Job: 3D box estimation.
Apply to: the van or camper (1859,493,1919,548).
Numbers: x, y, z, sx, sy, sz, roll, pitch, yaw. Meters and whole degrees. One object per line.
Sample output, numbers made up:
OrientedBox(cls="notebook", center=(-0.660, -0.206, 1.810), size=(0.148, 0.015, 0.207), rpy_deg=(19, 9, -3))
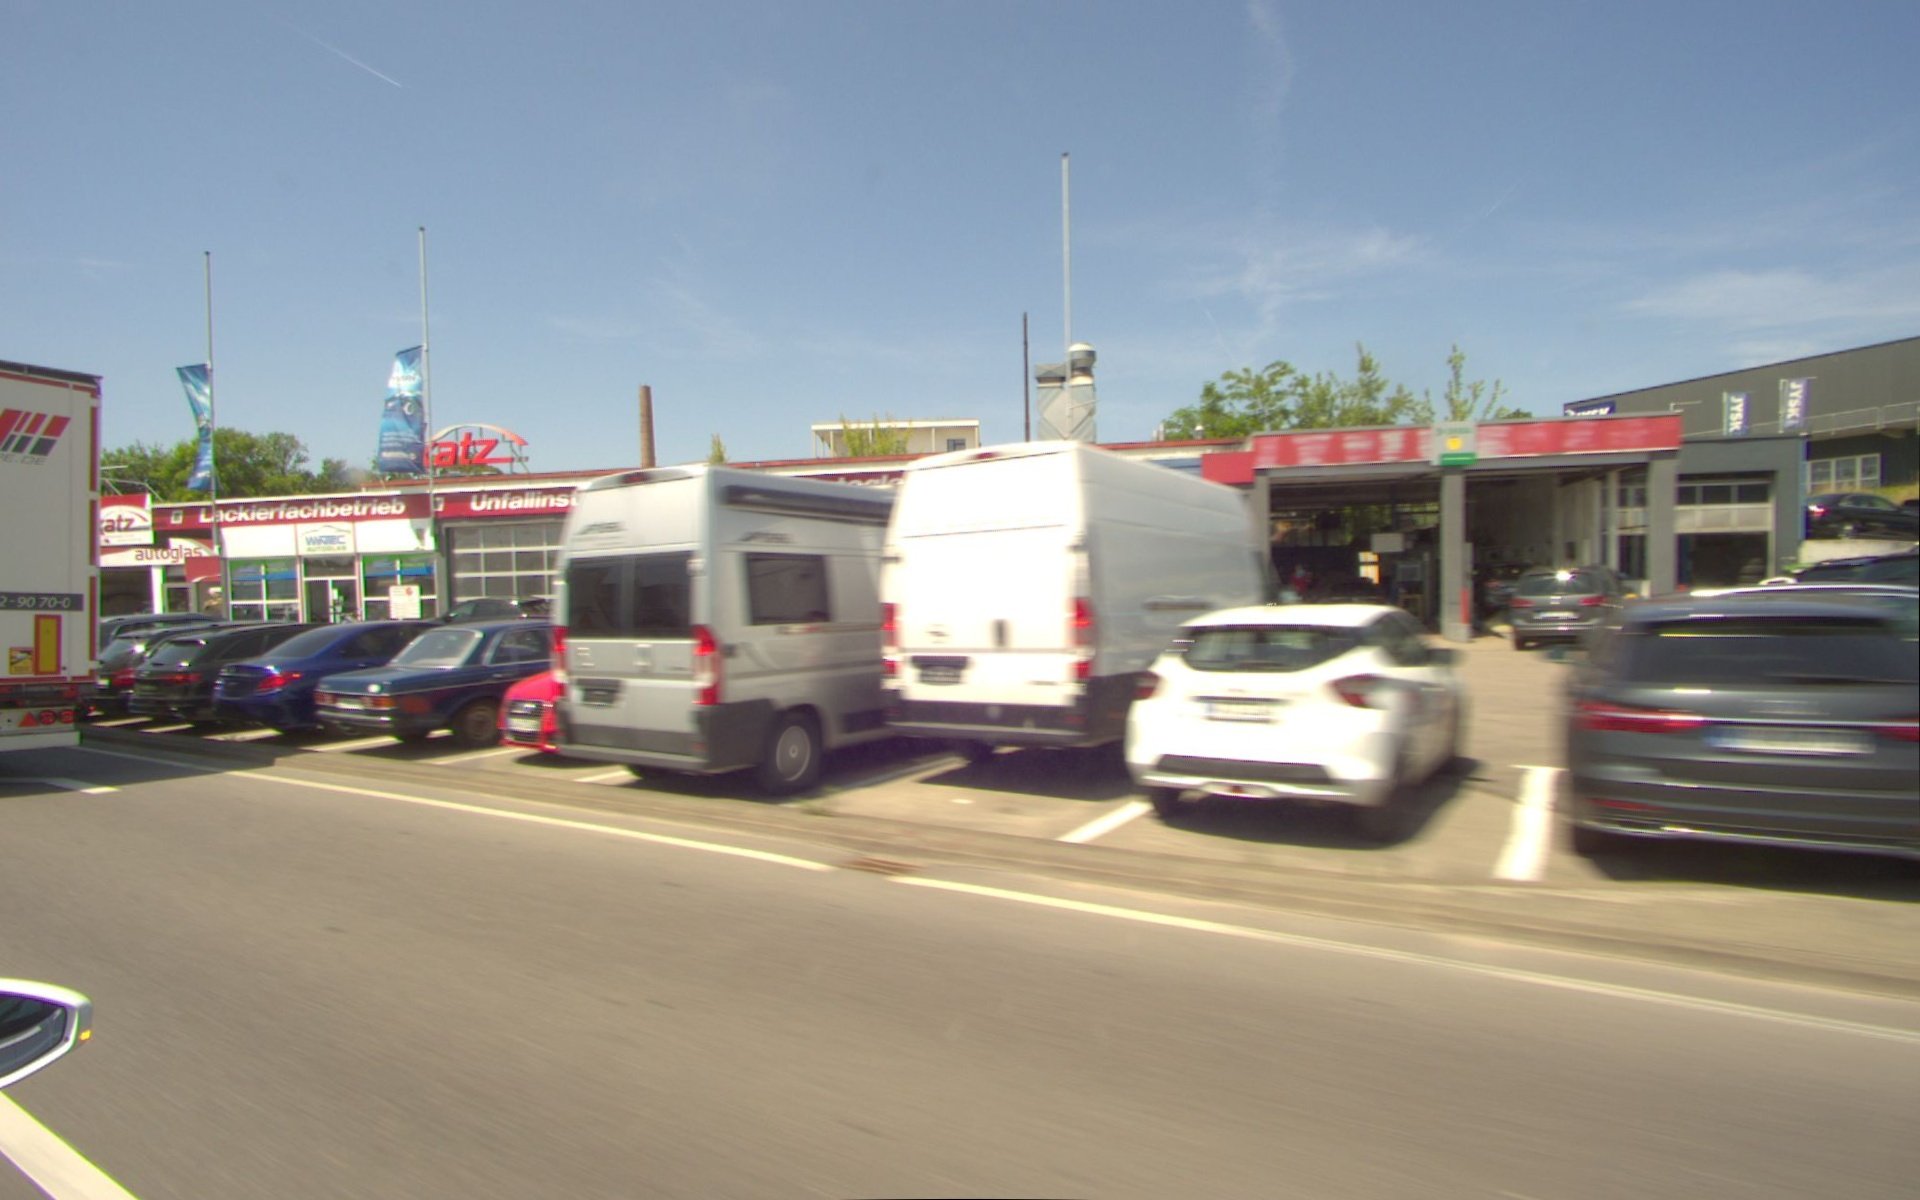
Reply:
OrientedBox(cls="van or camper", center=(28.213, -2.241, 28.382), size=(3.923, 1.375, 1.857), rpy_deg=(-1, -1, -5))

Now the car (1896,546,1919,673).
OrientedBox(cls="car", center=(15.867, 0.022, 13.918), size=(4.069, 1.813, 1.967), rpy_deg=(-4, 2, -6))

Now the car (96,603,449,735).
OrientedBox(cls="car", center=(-10.420, 0.953, 15.543), size=(1.947, 1.502, 4.005), rpy_deg=(-1, 3, 26))

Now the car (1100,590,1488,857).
OrientedBox(cls="car", center=(2.792, 0.730, 7.792), size=(1.830, 1.519, 3.797), rpy_deg=(-1, -1, 36))

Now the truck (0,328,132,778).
OrientedBox(cls="truck", center=(-16.339, -0.285, 13.609), size=(17.390, 4.147, 2.966), rpy_deg=(-1, -1, 34))

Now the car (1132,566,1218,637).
OrientedBox(cls="car", center=(4.779, 0.083, 22.665), size=(1.645, 1.468, 3.600), rpy_deg=(0, -1, 8))

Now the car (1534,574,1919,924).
OrientedBox(cls="car", center=(4.880, 0.669, 6.420), size=(2.050, 1.518, 4.320), rpy_deg=(-1, -1, 30))

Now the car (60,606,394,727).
OrientedBox(cls="car", center=(-12.063, 1.004, 16.802), size=(1.947, 1.502, 4.005), rpy_deg=(-1, 3, 26))

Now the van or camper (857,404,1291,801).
OrientedBox(cls="van or camper", center=(1.520, 0.030, 10.277), size=(2.201, 2.944, 5.354), rpy_deg=(-1, 0, 34))

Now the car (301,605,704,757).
OrientedBox(cls="car", center=(-5.652, 0.885, 12.992), size=(1.758, 1.539, 4.502), rpy_deg=(-1, 0, 33))

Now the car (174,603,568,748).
OrientedBox(cls="car", center=(-8.109, 0.925, 14.212), size=(2.133, 1.433, 4.252), rpy_deg=(-1, 3, 32))

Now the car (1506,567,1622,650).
OrientedBox(cls="car", center=(12.937, 0.169, 21.352), size=(1.658, 1.601, 3.572), rpy_deg=(-1, 0, 39))

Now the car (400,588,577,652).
OrientedBox(cls="car", center=(-12.994, 0.555, 27.692), size=(4.089, 1.679, 1.952), rpy_deg=(-1, 0, 13))

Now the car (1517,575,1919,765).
OrientedBox(cls="car", center=(7.910, 0.573, 9.445), size=(4.336, 1.548, 1.798), rpy_deg=(-1, 1, 44))

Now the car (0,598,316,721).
OrientedBox(cls="car", center=(-14.277, 0.962, 17.941), size=(2.164, 1.697, 4.010), rpy_deg=(-2, 3, 21))

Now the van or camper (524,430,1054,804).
OrientedBox(cls="van or camper", center=(-1.315, 0.133, 10.288), size=(2.201, 2.766, 5.461), rpy_deg=(-1, 0, 34))

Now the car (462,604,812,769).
OrientedBox(cls="car", center=(-3.560, 0.849, 11.584), size=(1.732, 1.514, 3.531), rpy_deg=(-1, 1, 33))

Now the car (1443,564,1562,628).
OrientedBox(cls="car", center=(14.984, -0.098, 27.892), size=(1.878, 1.639, 3.996), rpy_deg=(-1, 0, 13))
